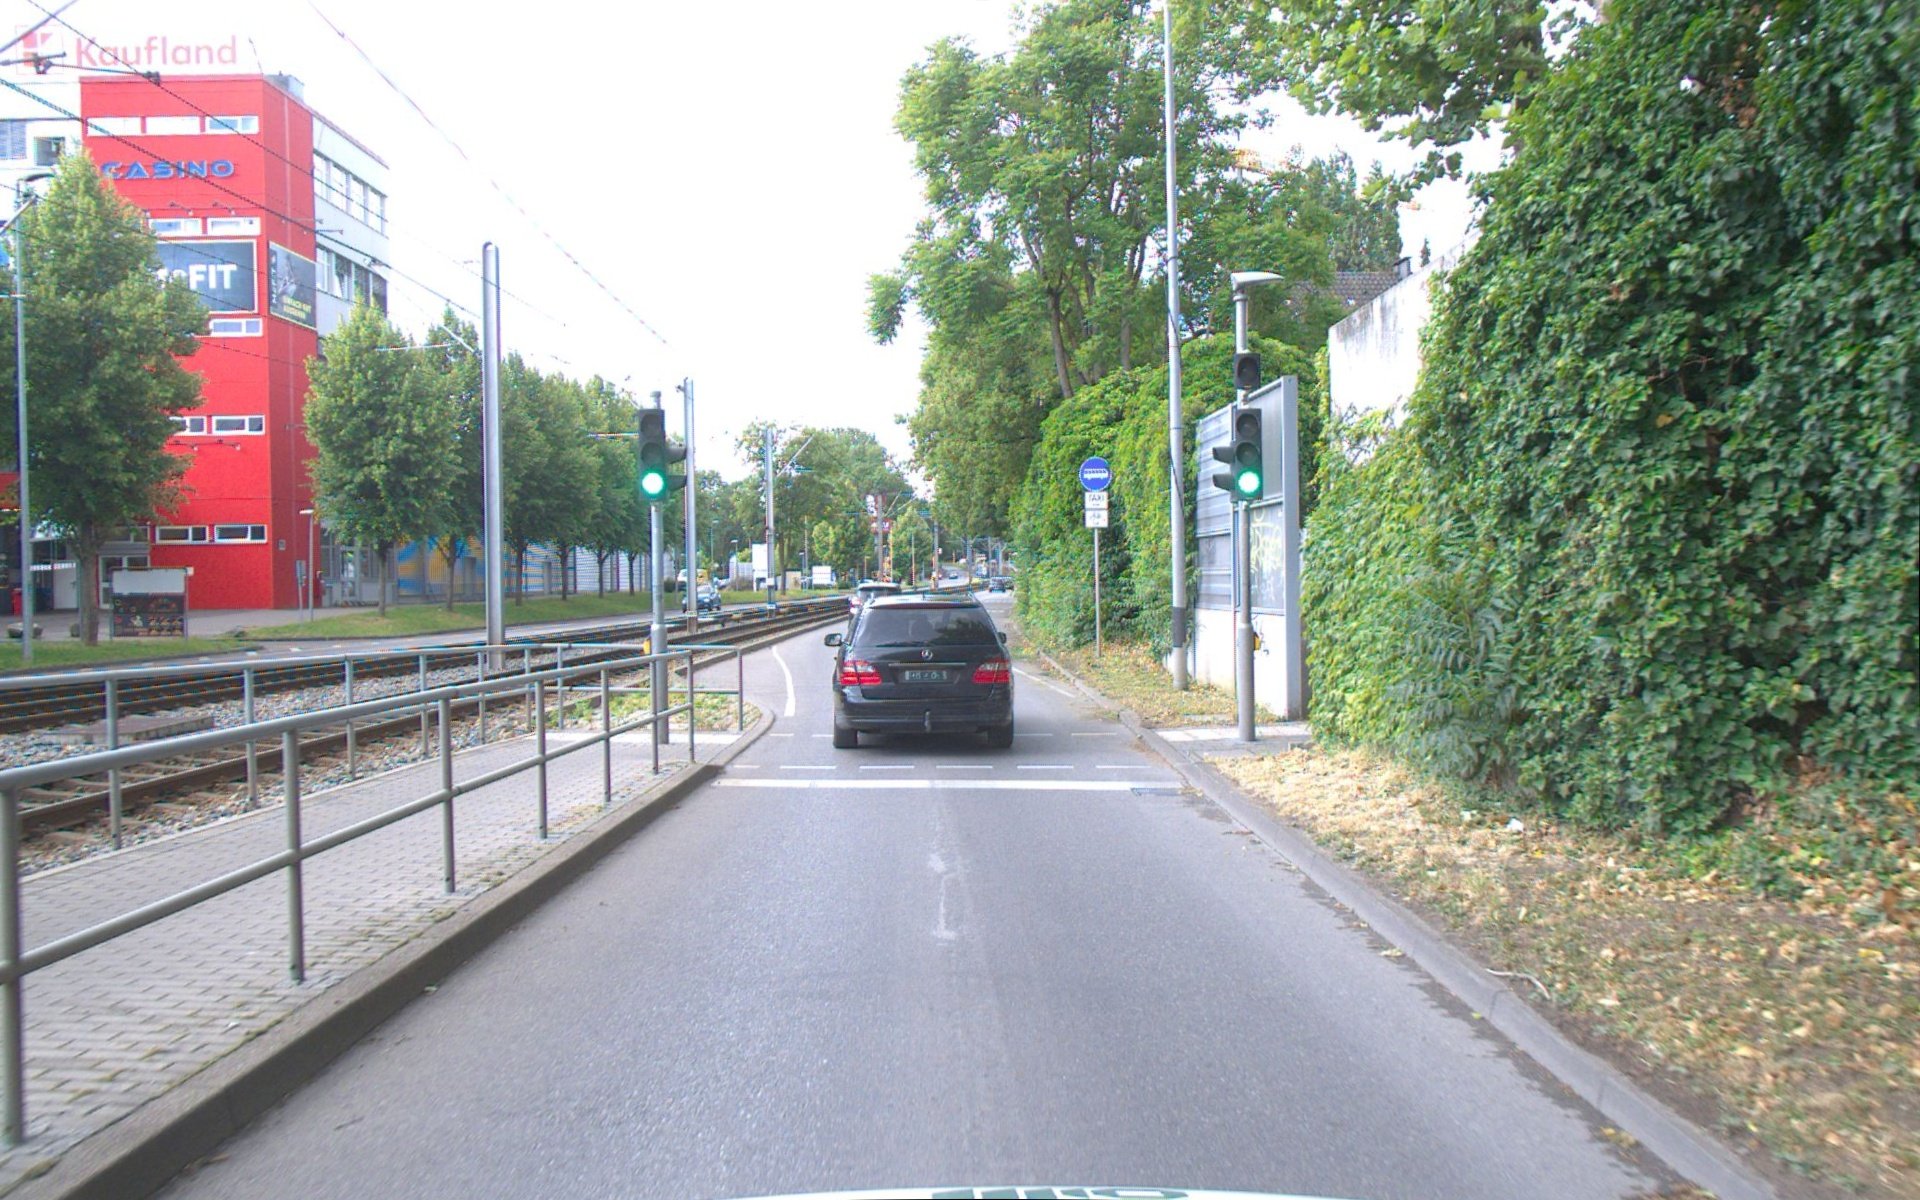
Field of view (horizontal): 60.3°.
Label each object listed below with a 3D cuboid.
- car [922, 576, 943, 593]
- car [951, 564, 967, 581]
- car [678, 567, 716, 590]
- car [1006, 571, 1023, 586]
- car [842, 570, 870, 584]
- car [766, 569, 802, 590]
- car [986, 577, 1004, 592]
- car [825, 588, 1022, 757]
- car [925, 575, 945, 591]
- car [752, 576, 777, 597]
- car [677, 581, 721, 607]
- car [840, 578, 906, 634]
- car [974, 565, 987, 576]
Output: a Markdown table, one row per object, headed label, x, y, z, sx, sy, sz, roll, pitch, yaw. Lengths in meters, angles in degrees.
| label | x | y | z | sx | sy | sz | roll | pitch | yaw |
| --- | --- | --- | --- | --- | --- | --- | --- | --- | --- |
| car | -2.563 | -1.508 | 155.421 | 1.787 | 1.556 | 3.987 | 0 | 1 | 1 |
| car | -0.085 | -3.331 | 200.327 | 1.853 | 2.048 | 3.898 | -2 | 1 | 0 |
| car | -21.464 | -1.736 | 135.220 | 1.952 | 1.773 | 4.990 | -1 | 1 | 4 |
| car | 6.013 | -2.398 | 182.903 | 1.787 | 1.556 | 4.180 | 0 | 1 | 1 |
| car | -13.743 | -3.047 | 218.614 | 3.623 | 1.847 | 1.792 | 0 | 1 | -8 |
| car | -19.806 | -2.325 | 186.249 | 3.910 | 2.160 | 1.998 | -2 | 0 | -5 |
| car | 3.609 | -1.598 | 169.514 | 1.787 | 1.556 | 4.417 | -1 | 1 | 1 |
| car | -0.312 | 0.645 | 17.228 | 1.795 | 1.503 | 4.416 | 0 | 1 | 0 |
| car | -2.418 | -1.660 | 160.353 | 1.787 | 1.556 | 3.987 | 0 | 1 | 1 |
| car | -19.621 | -1.362 | 166.158 | 1.953 | 2.048 | 4.000 | -2 | 1 | -1 |
| car | -14.755 | -0.345 | 93.709 | 1.624 | 1.417 | 3.721 | 0 | 1 | 5 |
| car | -2.552 | 0.150 | 49.414 | 1.788 | 1.556 | 4.415 | 0 | 1 | -1 |
| car | 3.013 | -4.301 | 237.907 | 1.787 | 1.556 | 4.180 | 0 | 1 | 1 |
